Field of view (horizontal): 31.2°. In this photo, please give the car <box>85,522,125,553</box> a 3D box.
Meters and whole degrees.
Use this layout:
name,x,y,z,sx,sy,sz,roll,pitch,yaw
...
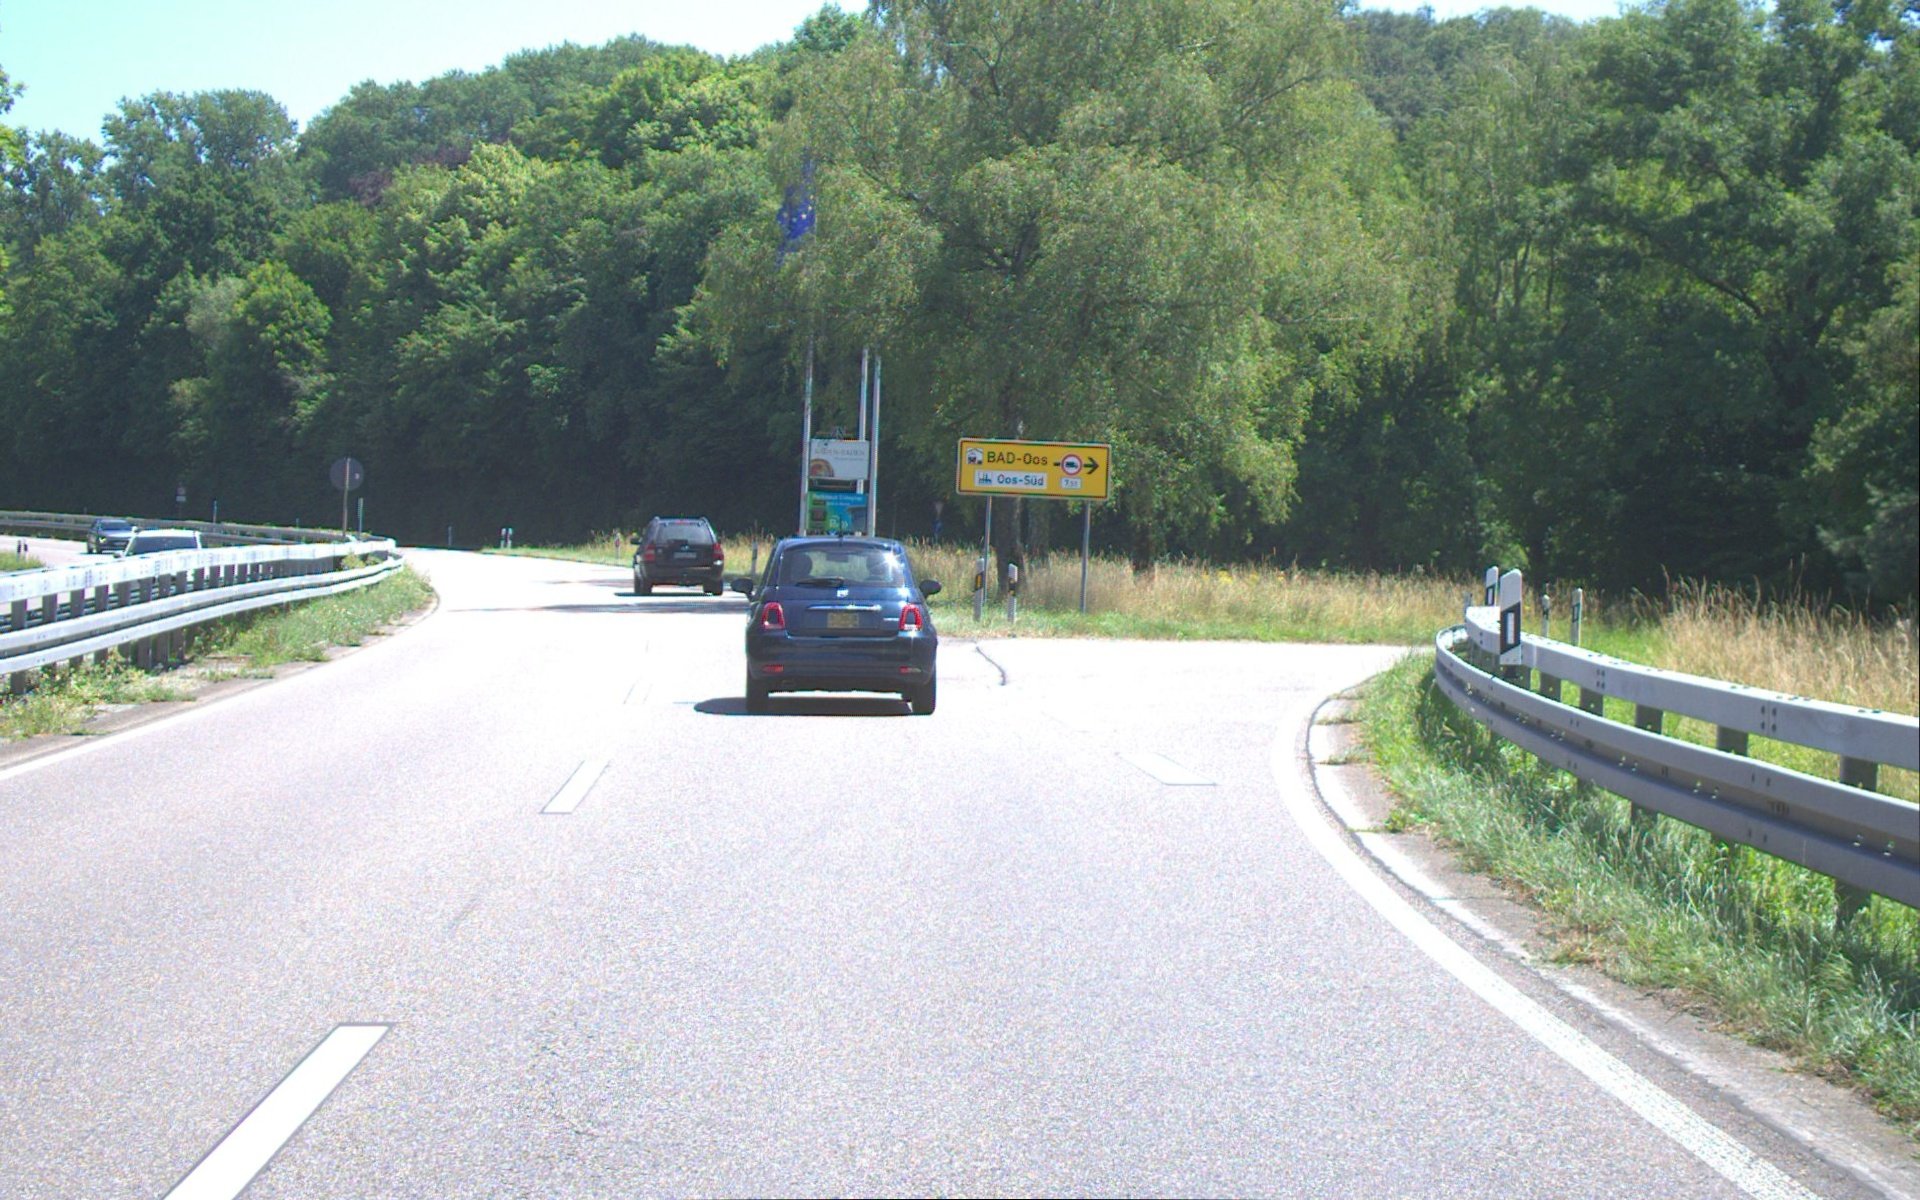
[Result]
name,x,y,z,sx,sy,sz,roll,pitch,yaw
car,-38.421,-2.813,154.426,1.440,1.376,3.850,0,1,-19

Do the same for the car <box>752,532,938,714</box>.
name,x,y,z,sx,sy,sz,roll,pitch,yaw
car,-0.956,0.153,29.975,1.513,1.495,3.590,0,1,0

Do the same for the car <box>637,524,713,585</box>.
name,x,y,z,sx,sy,sz,roll,pitch,yaw
car,-6.289,-1.006,75.589,1.525,1.309,3.416,0,1,-7

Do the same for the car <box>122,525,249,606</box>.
name,x,y,z,sx,sy,sz,roll,pitch,yaw
car,-15.522,-0.717,69.061,1.755,1.567,4.414,0,1,-3
